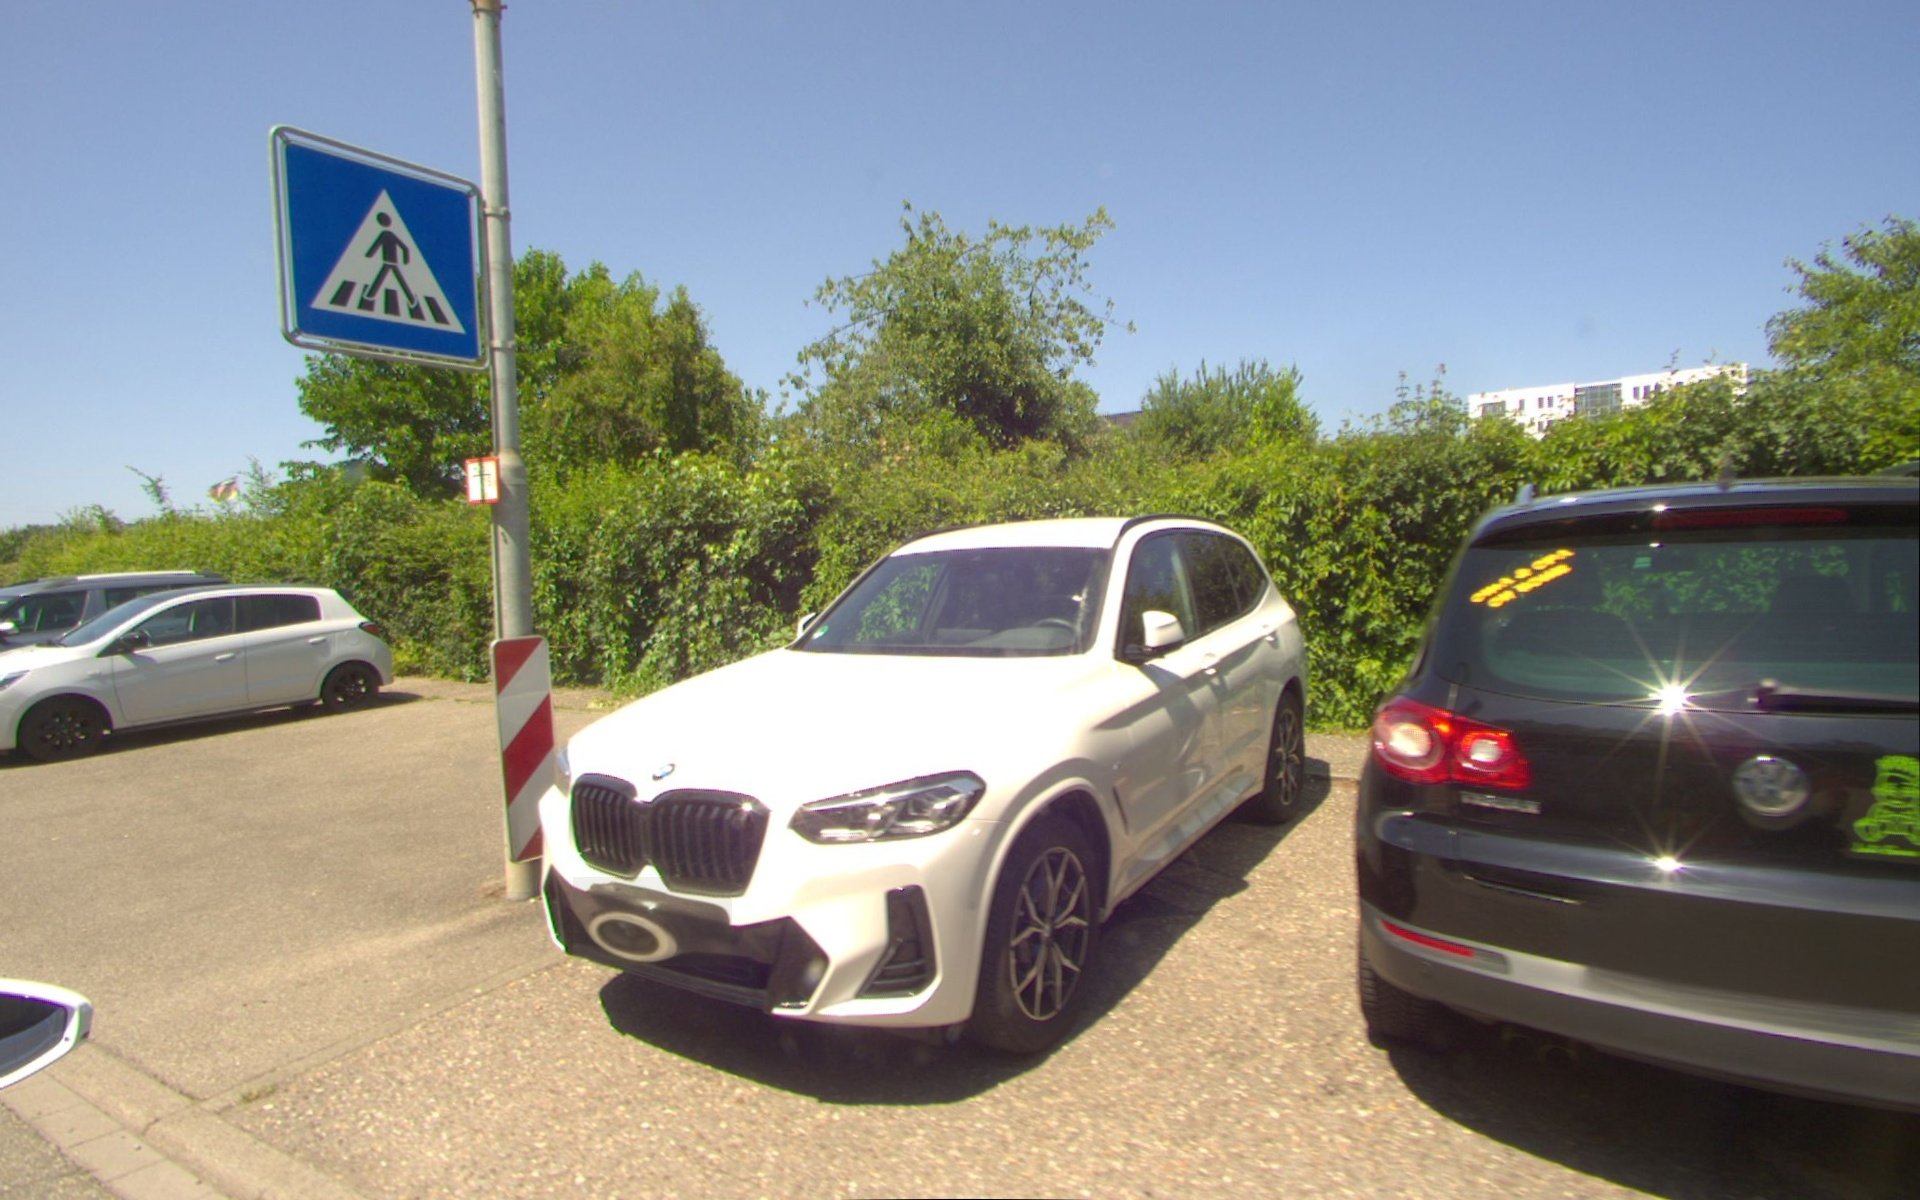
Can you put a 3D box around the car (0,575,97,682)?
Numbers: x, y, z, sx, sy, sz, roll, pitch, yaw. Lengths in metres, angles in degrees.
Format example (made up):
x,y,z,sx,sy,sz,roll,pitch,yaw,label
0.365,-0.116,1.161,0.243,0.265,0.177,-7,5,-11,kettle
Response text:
x,y,z,sx,sy,sz,roll,pitch,yaw,label
-15.611,0.523,14.713,1.834,1.545,3.956,0,5,27,car

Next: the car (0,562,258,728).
x,y,z,sx,sy,sz,roll,pitch,yaw,label
-10.806,0.500,11.617,1.637,1.664,3.953,0,5,27,car

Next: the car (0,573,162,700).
x,y,z,sx,sy,sz,roll,pitch,yaw,label
-13.121,0.519,13.364,1.515,1.549,3.446,0,5,27,car

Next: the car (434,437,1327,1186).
x,y,z,sx,sy,sz,roll,pitch,yaw,label
0.263,0.405,4.689,1.825,1.753,4.441,-1,3,32,car

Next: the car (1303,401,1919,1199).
x,y,z,sx,sy,sz,roll,pitch,yaw,label
2.586,0.403,3.628,1.740,1.709,3.963,0,3,31,car

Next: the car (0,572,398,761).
x,y,z,sx,sy,sz,roll,pitch,yaw,label
-8.191,0.547,10.442,1.588,1.471,3.674,1,5,36,car

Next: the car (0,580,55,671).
x,y,z,sx,sy,sz,roll,pitch,yaw,label
-17.738,0.495,16.881,1.566,1.525,3.375,1,4,35,car
